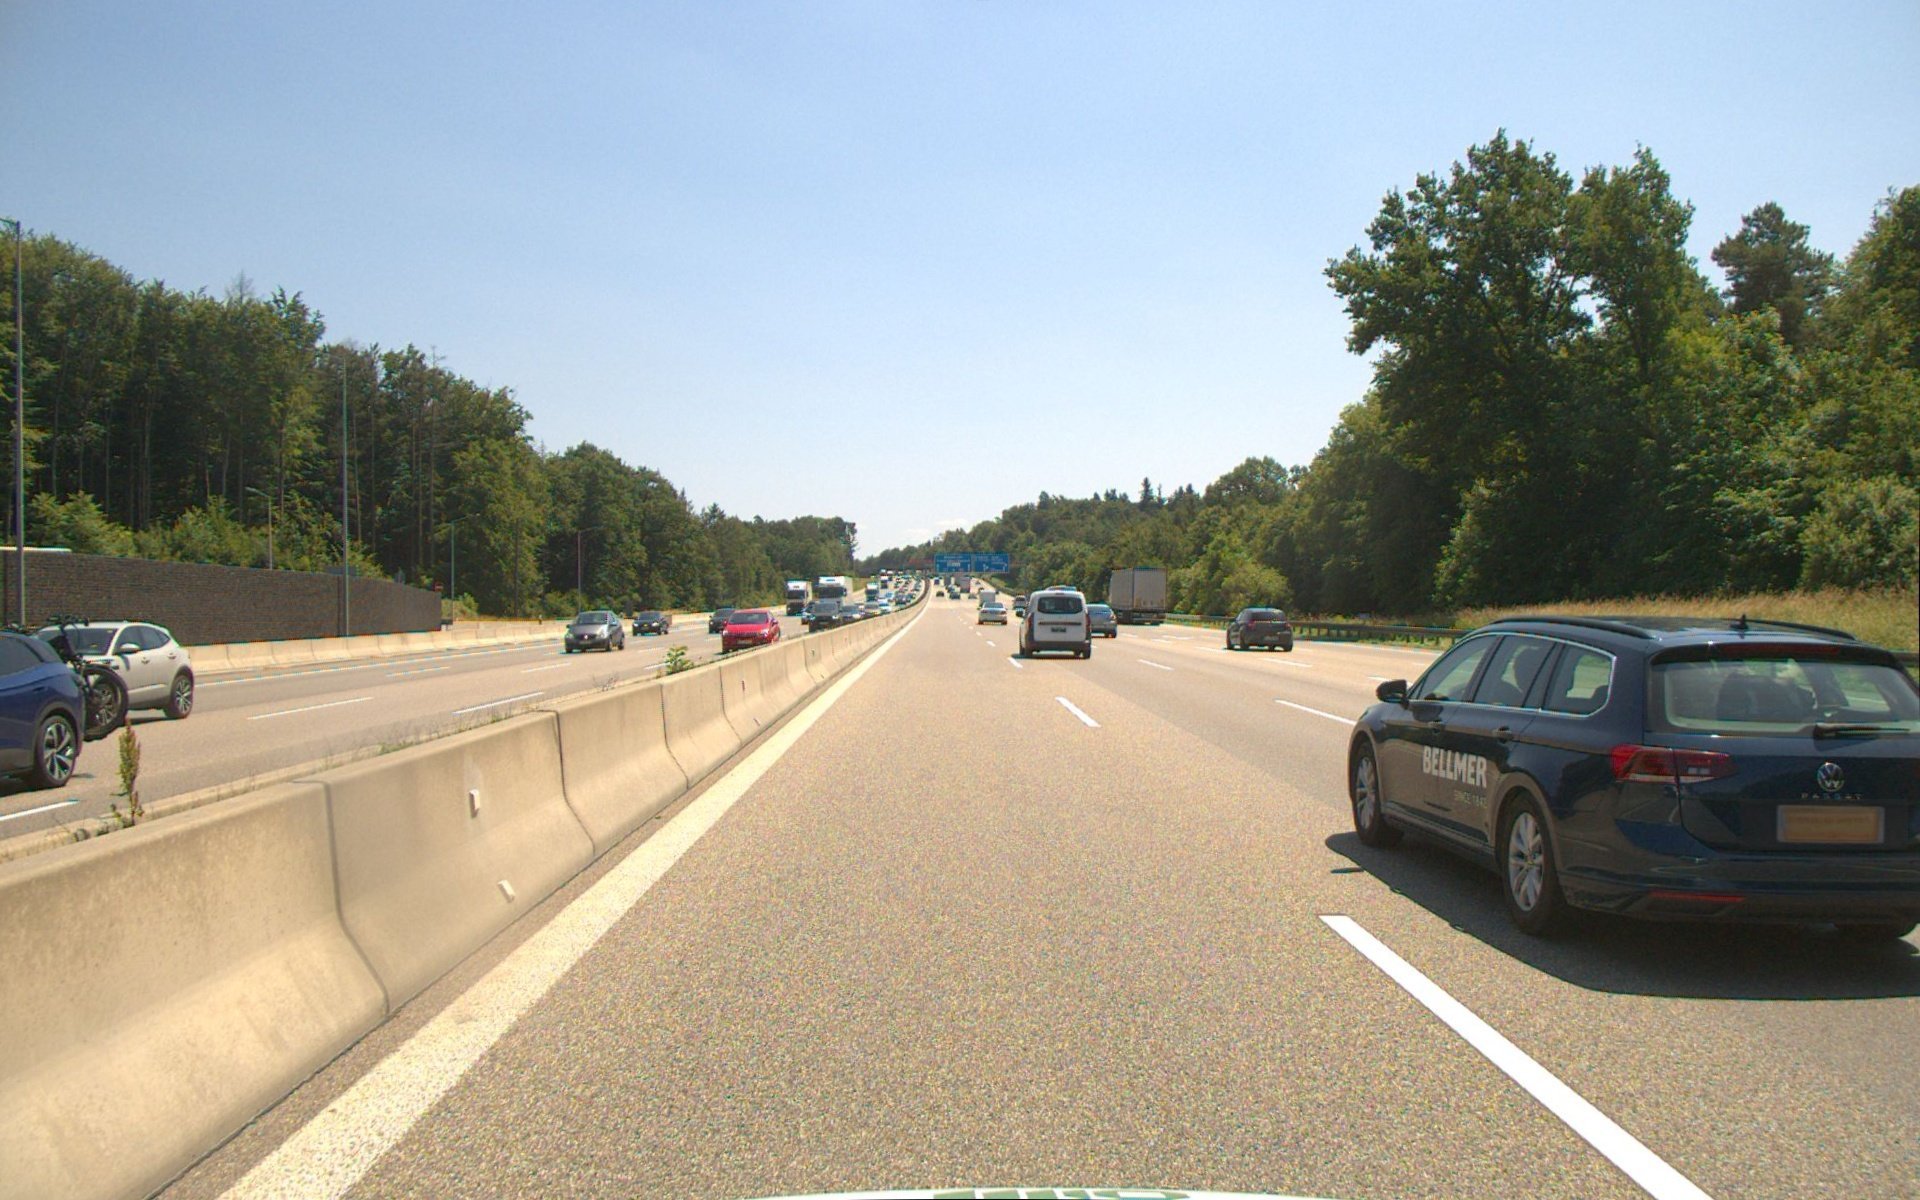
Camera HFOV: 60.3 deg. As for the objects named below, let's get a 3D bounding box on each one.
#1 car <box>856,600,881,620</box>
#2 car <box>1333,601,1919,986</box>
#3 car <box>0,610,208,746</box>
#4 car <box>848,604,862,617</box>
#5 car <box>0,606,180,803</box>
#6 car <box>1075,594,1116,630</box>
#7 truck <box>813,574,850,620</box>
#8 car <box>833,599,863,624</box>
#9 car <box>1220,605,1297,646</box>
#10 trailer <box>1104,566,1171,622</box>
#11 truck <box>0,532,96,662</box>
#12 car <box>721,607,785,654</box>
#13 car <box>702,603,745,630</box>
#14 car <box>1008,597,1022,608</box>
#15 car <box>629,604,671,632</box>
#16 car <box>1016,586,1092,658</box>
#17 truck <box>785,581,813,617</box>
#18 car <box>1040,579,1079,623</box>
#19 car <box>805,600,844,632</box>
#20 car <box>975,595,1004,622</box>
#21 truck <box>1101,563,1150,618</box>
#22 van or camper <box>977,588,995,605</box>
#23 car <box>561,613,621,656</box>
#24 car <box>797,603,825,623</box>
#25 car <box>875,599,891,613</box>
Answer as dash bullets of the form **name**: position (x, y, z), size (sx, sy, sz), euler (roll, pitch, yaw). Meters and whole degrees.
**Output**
- **car**: position (-8.028, 0.867, 145.301), size (1.954, 1.512, 5.133), euler (-5, 0, -2)
- **car**: position (3.411, 0.748, 8.880), size (1.694, 1.472, 4.961), euler (0, 0, 0)
- **car**: position (-13.805, 1.087, 25.307), size (1.953, 1.805, 5.922), euler (-1, 0, -1)
- **car**: position (-12.645, 1.266, 199.362), size (1.688, 1.533, 4.458), euler (-1, 0, -3)
- **car**: position (-9.859, 0.986, 15.903), size (1.953, 1.805, 5.922), euler (-1, 0, -1)
- **car**: position (5.976, 0.516, 73.345), size (1.473, 1.526, 3.649), euler (-1, 0, 0)
- **truck**: position (-12.195, -0.305, 157.622), size (2.985, 4.209, 6.947), euler (-1, 0, -1)
- **car**: position (-8.011, 0.841, 118.358), size (1.953, 1.692, 4.969), euler (-2, 0, -2)
- **car**: position (10.093, 0.846, 56.259), size (1.637, 1.296, 4.287), euler (1, 0, -3)
- **trailer**: position (13.358, -0.552, 125.931), size (3.221, 3.999, 13.887), euler (1, 1, -1)
- **truck**: position (-46.300, -0.065, 70.482), size (3.392, 5.711, 16.598), euler (-1, 0, 44)
- **car**: position (-7.288, 1.053, 58.584), size (1.695, 1.540, 5.043), euler (-1, 0, -1)
- **car**: position (-14.844, 1.021, 104.172), size (1.953, 1.649, 5.753), euler (-1, 0, -1)
- **car**: position (7.523, 0.348, 227.225), size (1.798, 1.361, 3.642), euler (-1, 0, -1)
- **car**: position (-19.167, 1.116, 102.484), size (1.953, 1.649, 4.212), euler (-1, 0, -2)
- **car**: position (2.563, 0.585, 45.994), size (1.822, 1.857, 4.612), euler (-1, 0, 0)
- **truck**: position (-19.720, -0.169, 202.805), size (2.778, 4.271, 10.591), euler (0, 0, -2)
- **car**: position (6.450, 0.032, 107.261), size (2.100, 2.698, 5.709), euler (0, 1, -1)
- **car**: position (-7.706, 0.879, 94.566), size (1.954, 1.692, 5.751), euler (-2, 0, -3)
- **car**: position (1.918, 0.557, 109.323), size (1.805, 1.657, 4.553), euler (-1, 0, -1)
- **truck**: position (13.236, -0.794, 132.639), size (3.188, 4.178, 5.987), euler (1, 1, -1)
- **van or camper**: position (3.923, -0.580, 253.564), size (2.591, 2.583, 6.501), euler (-1, 0, -1)
- **car**: position (-14.593, 1.343, 65.552), size (1.688, 1.582, 4.054), euler (-1, 0, -4)
- **car**: position (-11.966, 1.024, 133.054), size (1.954, 1.513, 5.016), euler (-2, 0, -2)
- **car**: position (-8.323, 0.603, 178.099), size (1.712, 1.483, 4.154), euler (-1, 0, -3)
